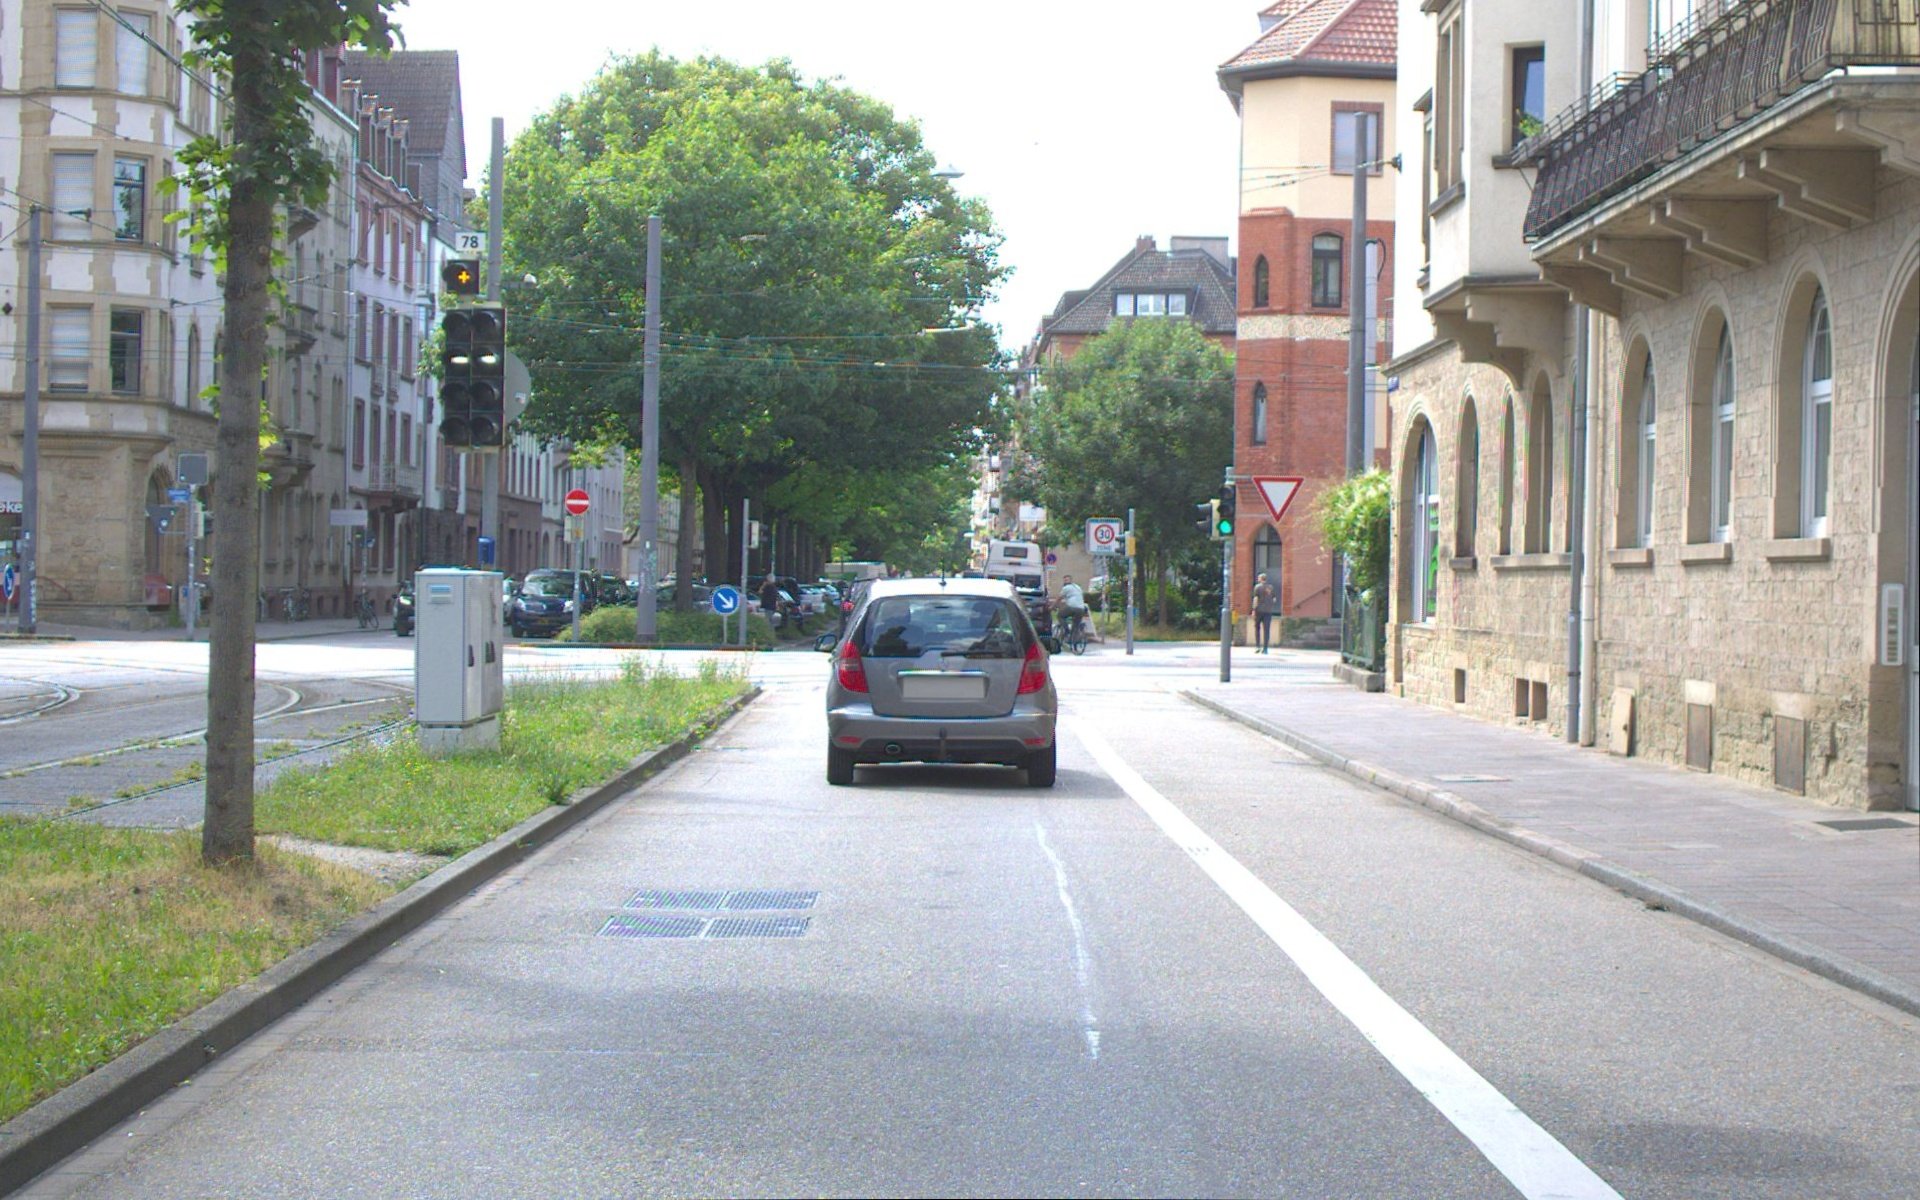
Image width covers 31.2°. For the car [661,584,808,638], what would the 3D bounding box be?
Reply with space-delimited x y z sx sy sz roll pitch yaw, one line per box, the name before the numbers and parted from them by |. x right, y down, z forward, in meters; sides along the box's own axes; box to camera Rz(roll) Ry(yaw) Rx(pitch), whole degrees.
car | -6.066 0.281 92.146 1.969 1.334 3.999 1 0 -39

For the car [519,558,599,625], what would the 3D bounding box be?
car | -10.570 -0.236 90.905 1.993 1.722 4.001 0 0 -5

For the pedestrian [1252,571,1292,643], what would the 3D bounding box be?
pedestrian | 7.291 0.158 80.360 0.869 1.651 0.736 1 0 5

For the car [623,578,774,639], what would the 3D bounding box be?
car | -6.833 0.207 89.535 1.969 1.489 3.999 1 0 -39

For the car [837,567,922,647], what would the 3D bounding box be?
car | -1.751 0.154 75.497 1.722 1.700 3.677 0 0 1

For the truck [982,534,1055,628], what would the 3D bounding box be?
truck | 1.903 -0.606 110.275 2.123 2.960 3.999 0 0 4

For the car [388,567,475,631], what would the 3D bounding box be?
car | -13.731 -0.029 89.442 1.993 1.612 4.001 0 0 -5

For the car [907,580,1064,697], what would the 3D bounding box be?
car | 0.338 0.478 45.841 1.980 1.437 4.000 1 0 0

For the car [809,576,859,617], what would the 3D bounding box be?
car | -4.934 -0.145 134.699 1.752 1.512 3.499 1 0 0

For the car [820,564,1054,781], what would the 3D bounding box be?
car | -0.145 0.531 27.328 1.722 1.600 3.677 0 0 1

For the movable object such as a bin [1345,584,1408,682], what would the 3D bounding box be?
movable object such as a bin | 6.357 0.499 52.484 0.714 1.467 0.983 0 0 -9

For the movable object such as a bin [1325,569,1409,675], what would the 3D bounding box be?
movable object such as a bin | 6.023 0.318 51.020 1.050 1.534 2.100 0 0 2

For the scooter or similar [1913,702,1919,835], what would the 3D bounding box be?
scooter or similar | 4.908 0.981 16.107 0.592 0.998 0.905 -3 0 1

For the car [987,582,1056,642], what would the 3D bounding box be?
car | 1.761 0.335 97.353 1.752 1.627 3.499 1 0 4

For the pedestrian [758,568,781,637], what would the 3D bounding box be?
pedestrian | -4.838 0.061 87.239 0.493 1.719 0.654 1 0 -7
